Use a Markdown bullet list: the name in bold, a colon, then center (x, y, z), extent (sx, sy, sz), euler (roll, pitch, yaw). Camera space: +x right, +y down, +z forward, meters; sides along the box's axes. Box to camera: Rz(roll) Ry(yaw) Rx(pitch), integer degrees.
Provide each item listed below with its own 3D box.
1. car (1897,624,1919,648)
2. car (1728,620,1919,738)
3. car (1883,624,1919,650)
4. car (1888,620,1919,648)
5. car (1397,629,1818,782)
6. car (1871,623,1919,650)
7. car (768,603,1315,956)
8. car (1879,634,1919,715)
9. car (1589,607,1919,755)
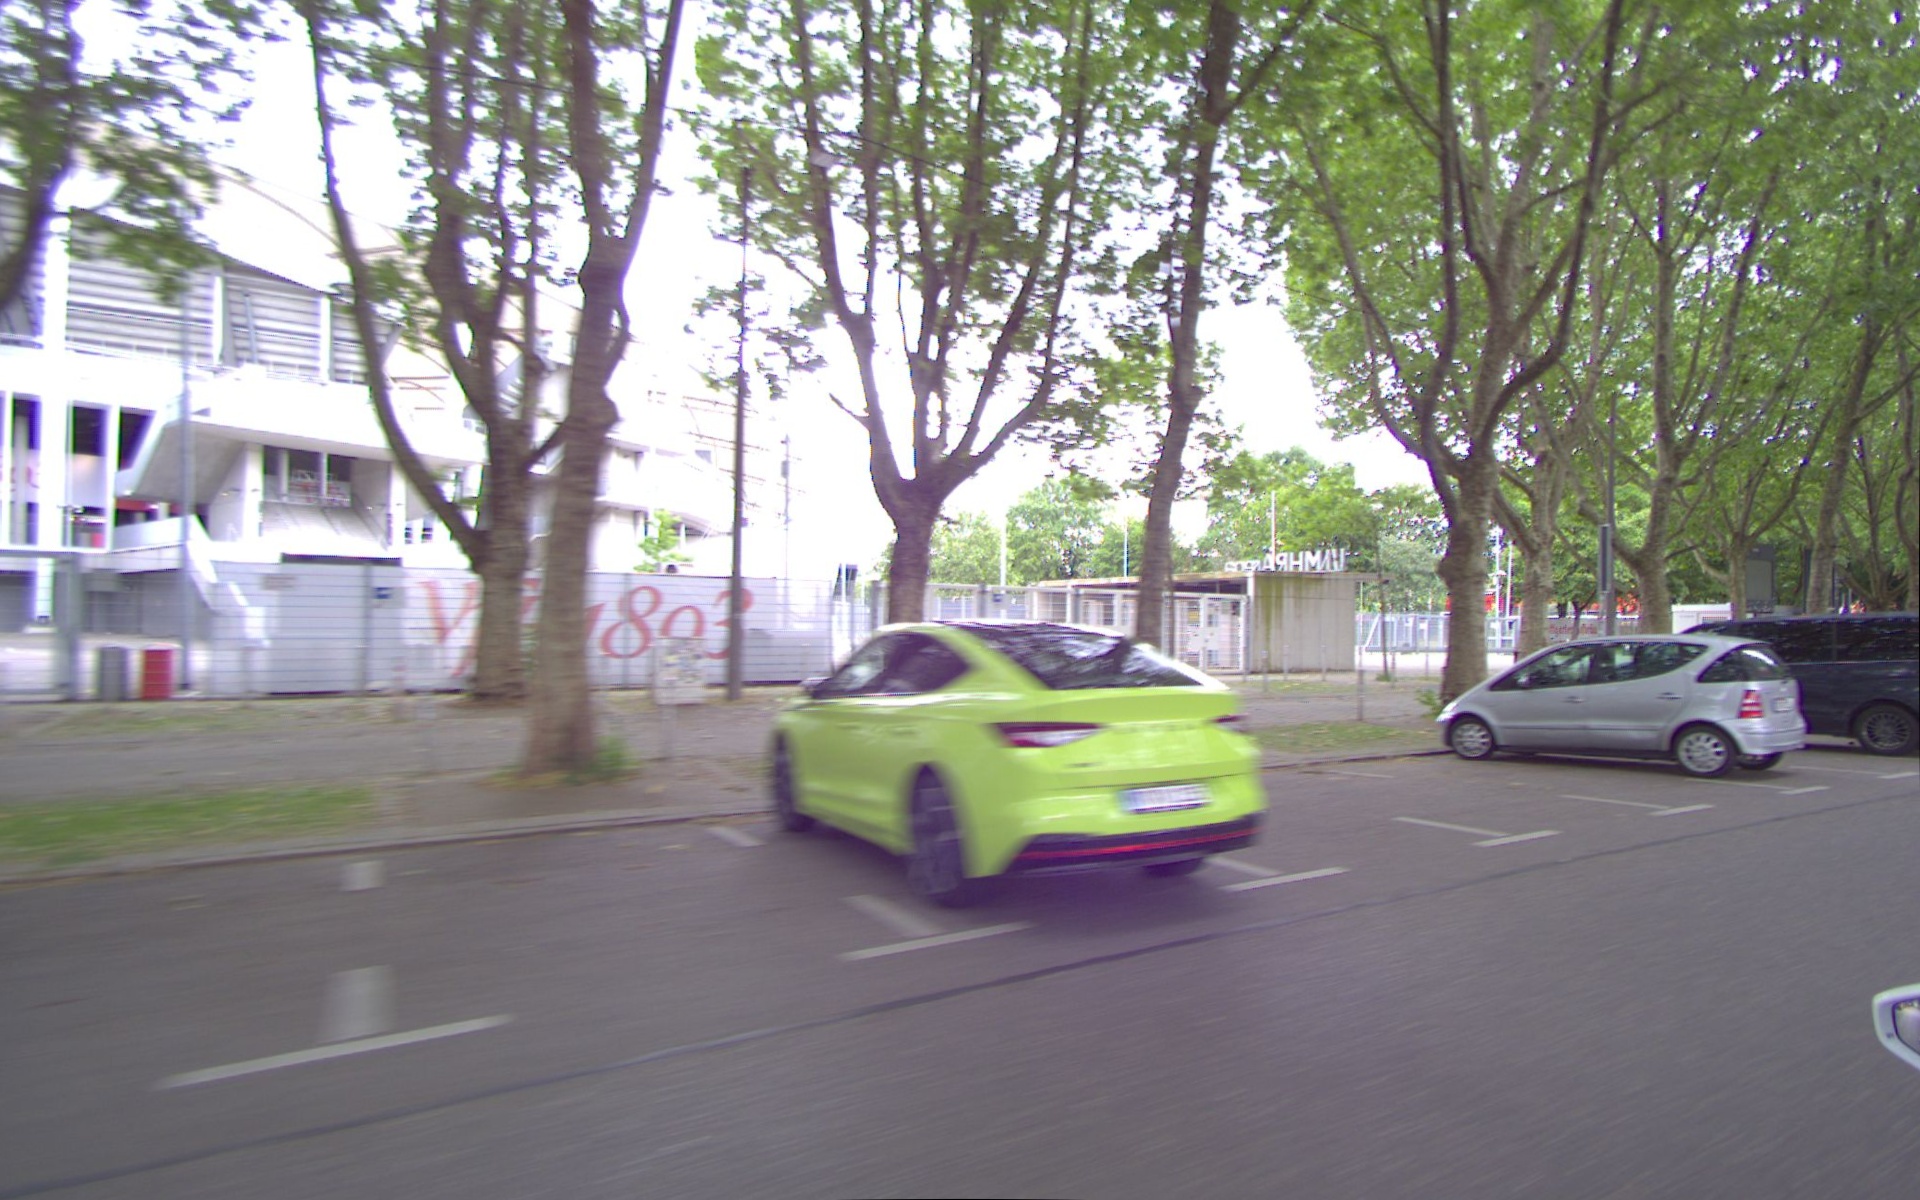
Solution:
- **car**: center (94.062, 3.499, 96.246), extent (1.977, 2.270, 5.973), euler (2, 0, -30)
- **car**: center (16.750, 1.345, 17.500), extent (2.181, 1.949, 4.885), euler (1, -3, -29)
- **car**: center (88.111, 3.433, 91.274), extent (1.977, 2.282, 5.973), euler (2, 0, -30)
- **car**: center (92.128, 3.290, 95.054), extent (1.977, 2.560, 5.973), euler (1, 0, -30)
- **car**: center (7.886, 1.217, 12.624), extent (1.740, 1.589, 4.080), euler (2, -4, -34)
- **car**: center (85.784, 3.326, 89.887), extent (1.977, 2.282, 5.973), euler (2, 0, -30)
- **car**: center (0.148, 0.894, 7.087), extent (1.736, 1.639, 4.499), euler (1, -2, -27)
- **car**: center (23.053, 1.594, 21.541), extent (1.775, 1.805, 4.562), euler (0, -3, -28)
- **car**: center (12.489, 1.146, 15.114), extent (1.997, 1.949, 4.733), euler (2, -3, -34)
